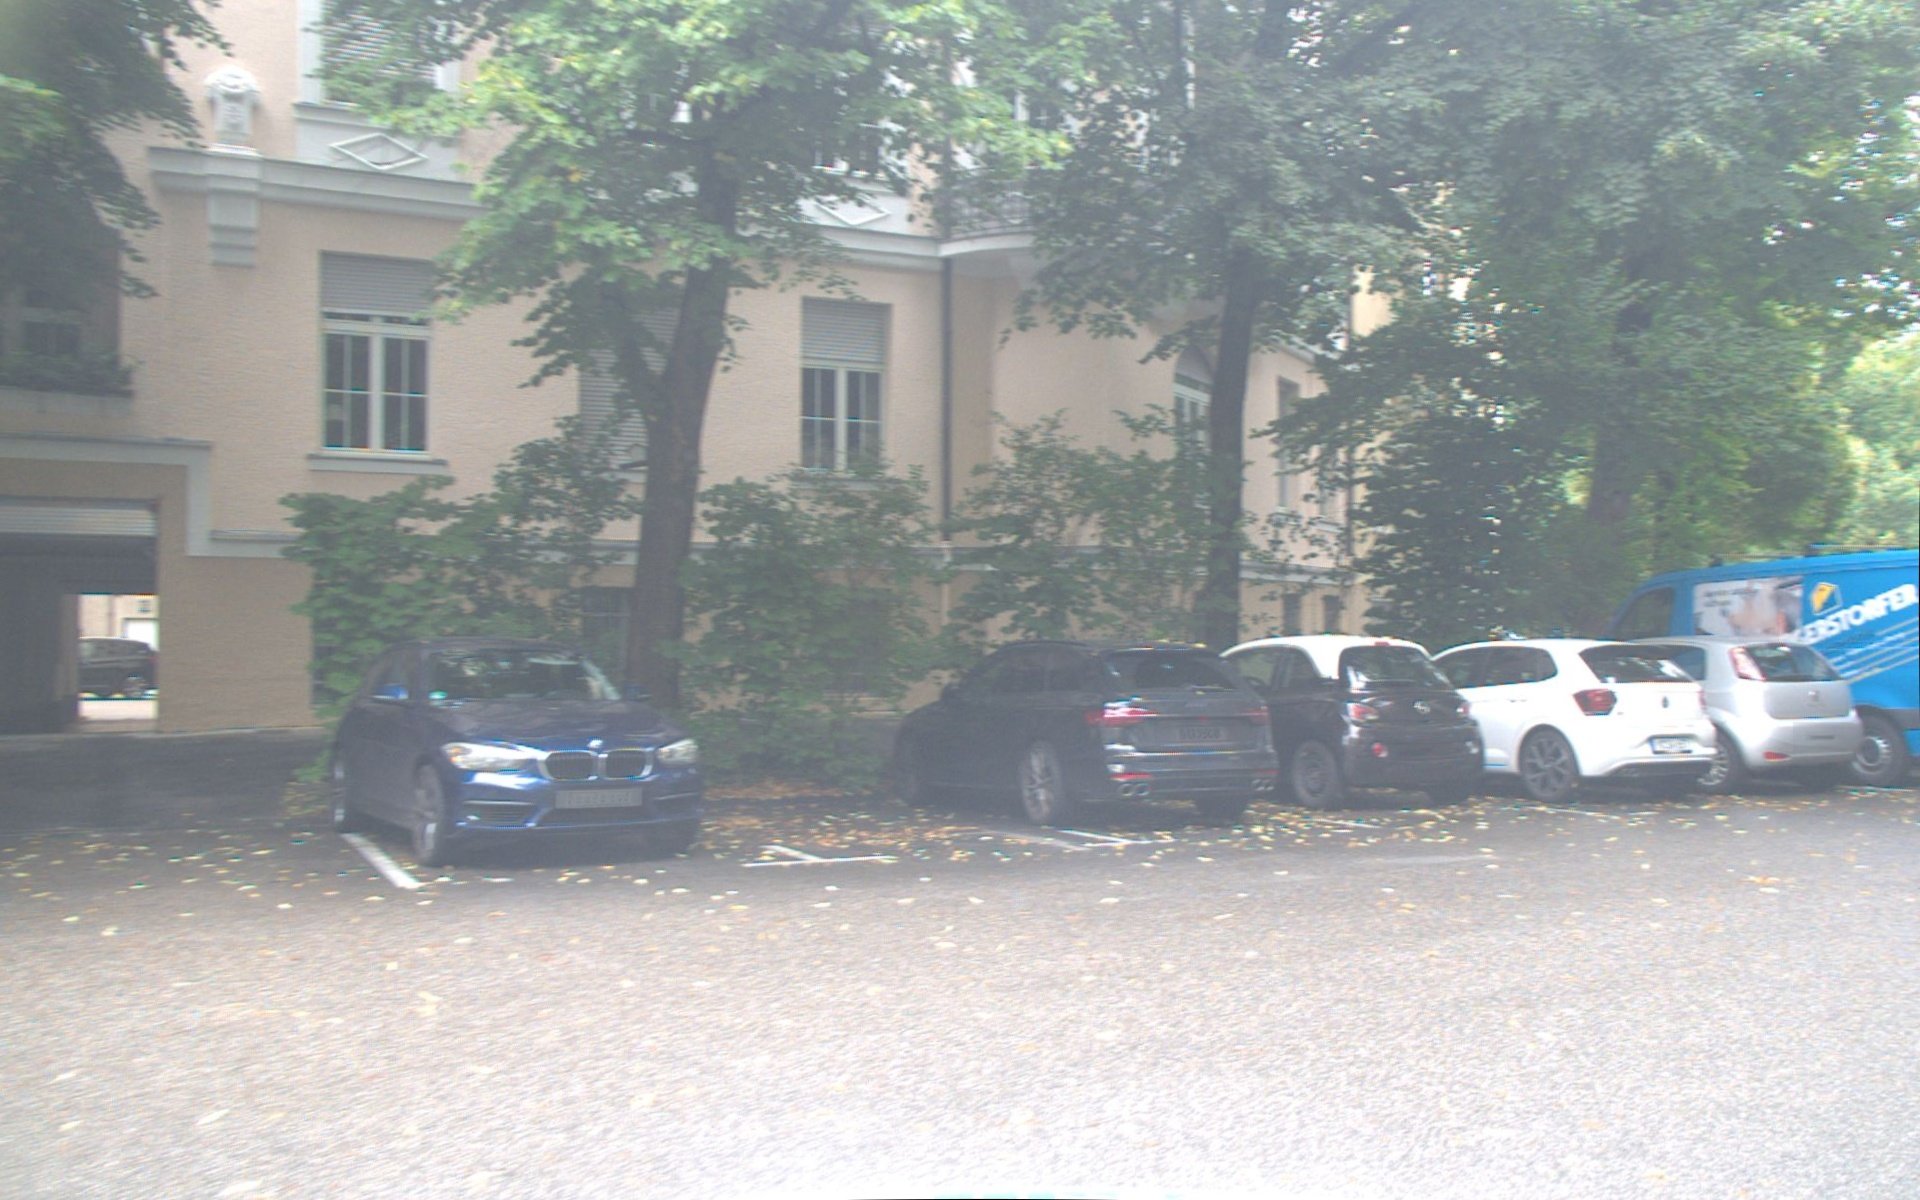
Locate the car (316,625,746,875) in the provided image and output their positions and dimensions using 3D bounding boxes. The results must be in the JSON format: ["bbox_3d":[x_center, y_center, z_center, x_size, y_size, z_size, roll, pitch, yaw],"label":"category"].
[{"bbox_3d":[-3.201,0.905,11.669,1.820,1.407,4.296,1,-2,-31],"label":"car"}]

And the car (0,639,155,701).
[{"bbox_3d":[-23.248,1.815,43.204,3.808,1.545,1.638,1,-1,-33],"label":"car"}]

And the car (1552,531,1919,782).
[{"bbox_3d":[9.280,0.653,18.088,2.033,2.396,5.451,1,-3,-25],"label":"car"}]

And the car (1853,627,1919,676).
[{"bbox_3d":[31.381,1.658,53.015,4.719,1.522,1.836,0,-1,35],"label":"car"}]

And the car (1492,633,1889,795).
[{"bbox_3d":[7.292,1.100,16.864,1.618,1.458,3.525,1,-2,-25],"label":"car"}]

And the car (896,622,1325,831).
[{"bbox_3d":[1.055,0.988,13.801,1.833,1.450,4.132,0,-3,-23],"label":"car"}]

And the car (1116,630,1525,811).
[{"bbox_3d":[3.187,1.110,15.374,1.804,1.451,3.719,1,-4,-25],"label":"car"}]

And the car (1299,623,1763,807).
[{"bbox_3d":[5.368,1.127,16.177,1.776,1.540,4.248,1,-5,-26],"label":"car"}]
